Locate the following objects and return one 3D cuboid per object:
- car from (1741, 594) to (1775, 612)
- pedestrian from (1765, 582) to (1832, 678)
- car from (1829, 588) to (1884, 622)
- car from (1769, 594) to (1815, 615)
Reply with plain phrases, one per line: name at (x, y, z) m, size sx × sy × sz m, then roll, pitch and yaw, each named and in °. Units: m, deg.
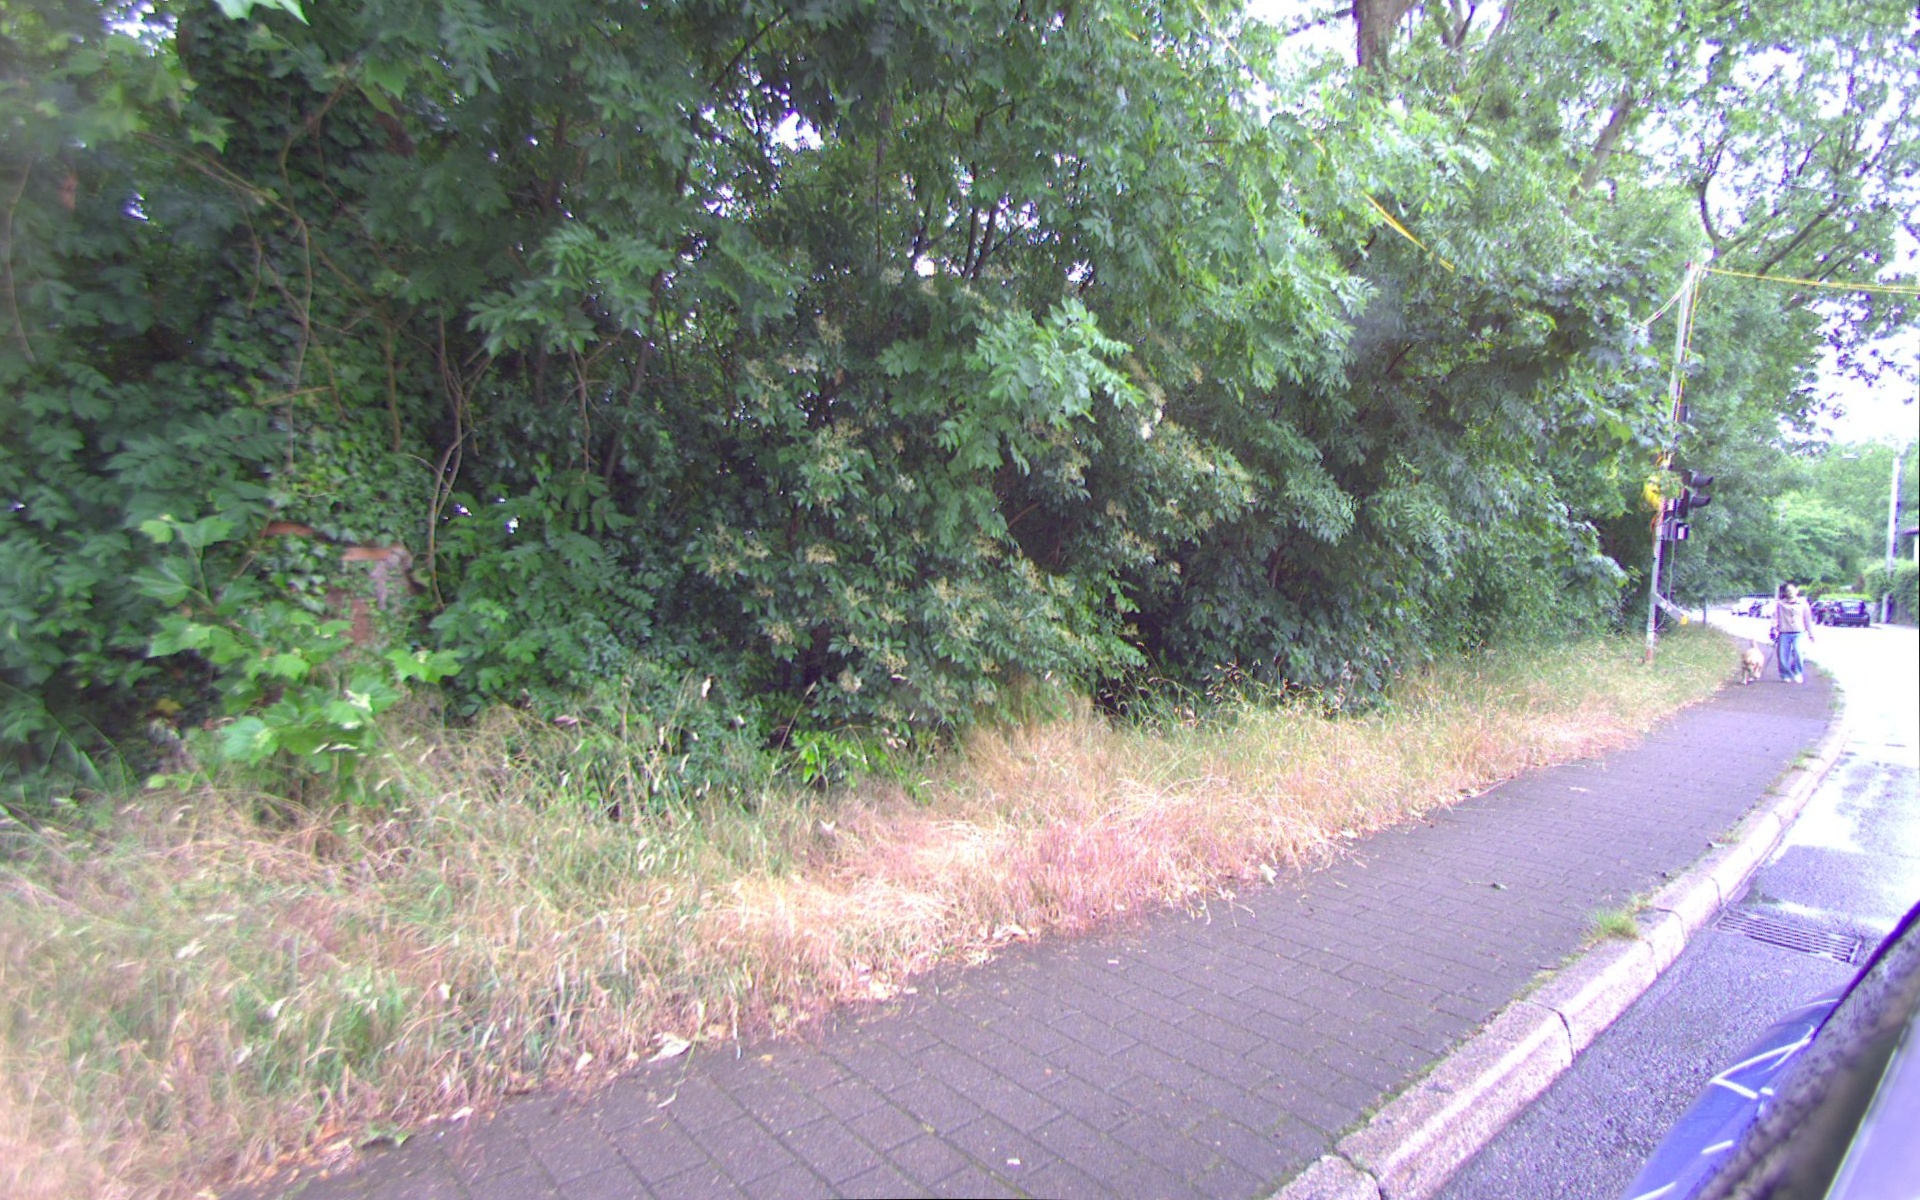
car at (64.937, 0.221, 82.374) m, size 1.676 × 1.445 × 3.734 m, roll 1°, pitch 1°, yaw 31°
pedestrian at (13.699, 0.474, 16.535) m, size 0.771 × 1.518 × 0.734 m, roll 0°, pitch 0°, yaw -42°
car at (51.055, 0.283, 57.709) m, size 1.869 × 1.848 × 4.075 m, roll 1°, pitch 1°, yaw 35°
car at (60.743, 0.299, 73.921) m, size 2.055 × 1.504 × 4.508 m, roll 1°, pitch 1°, yaw 33°
